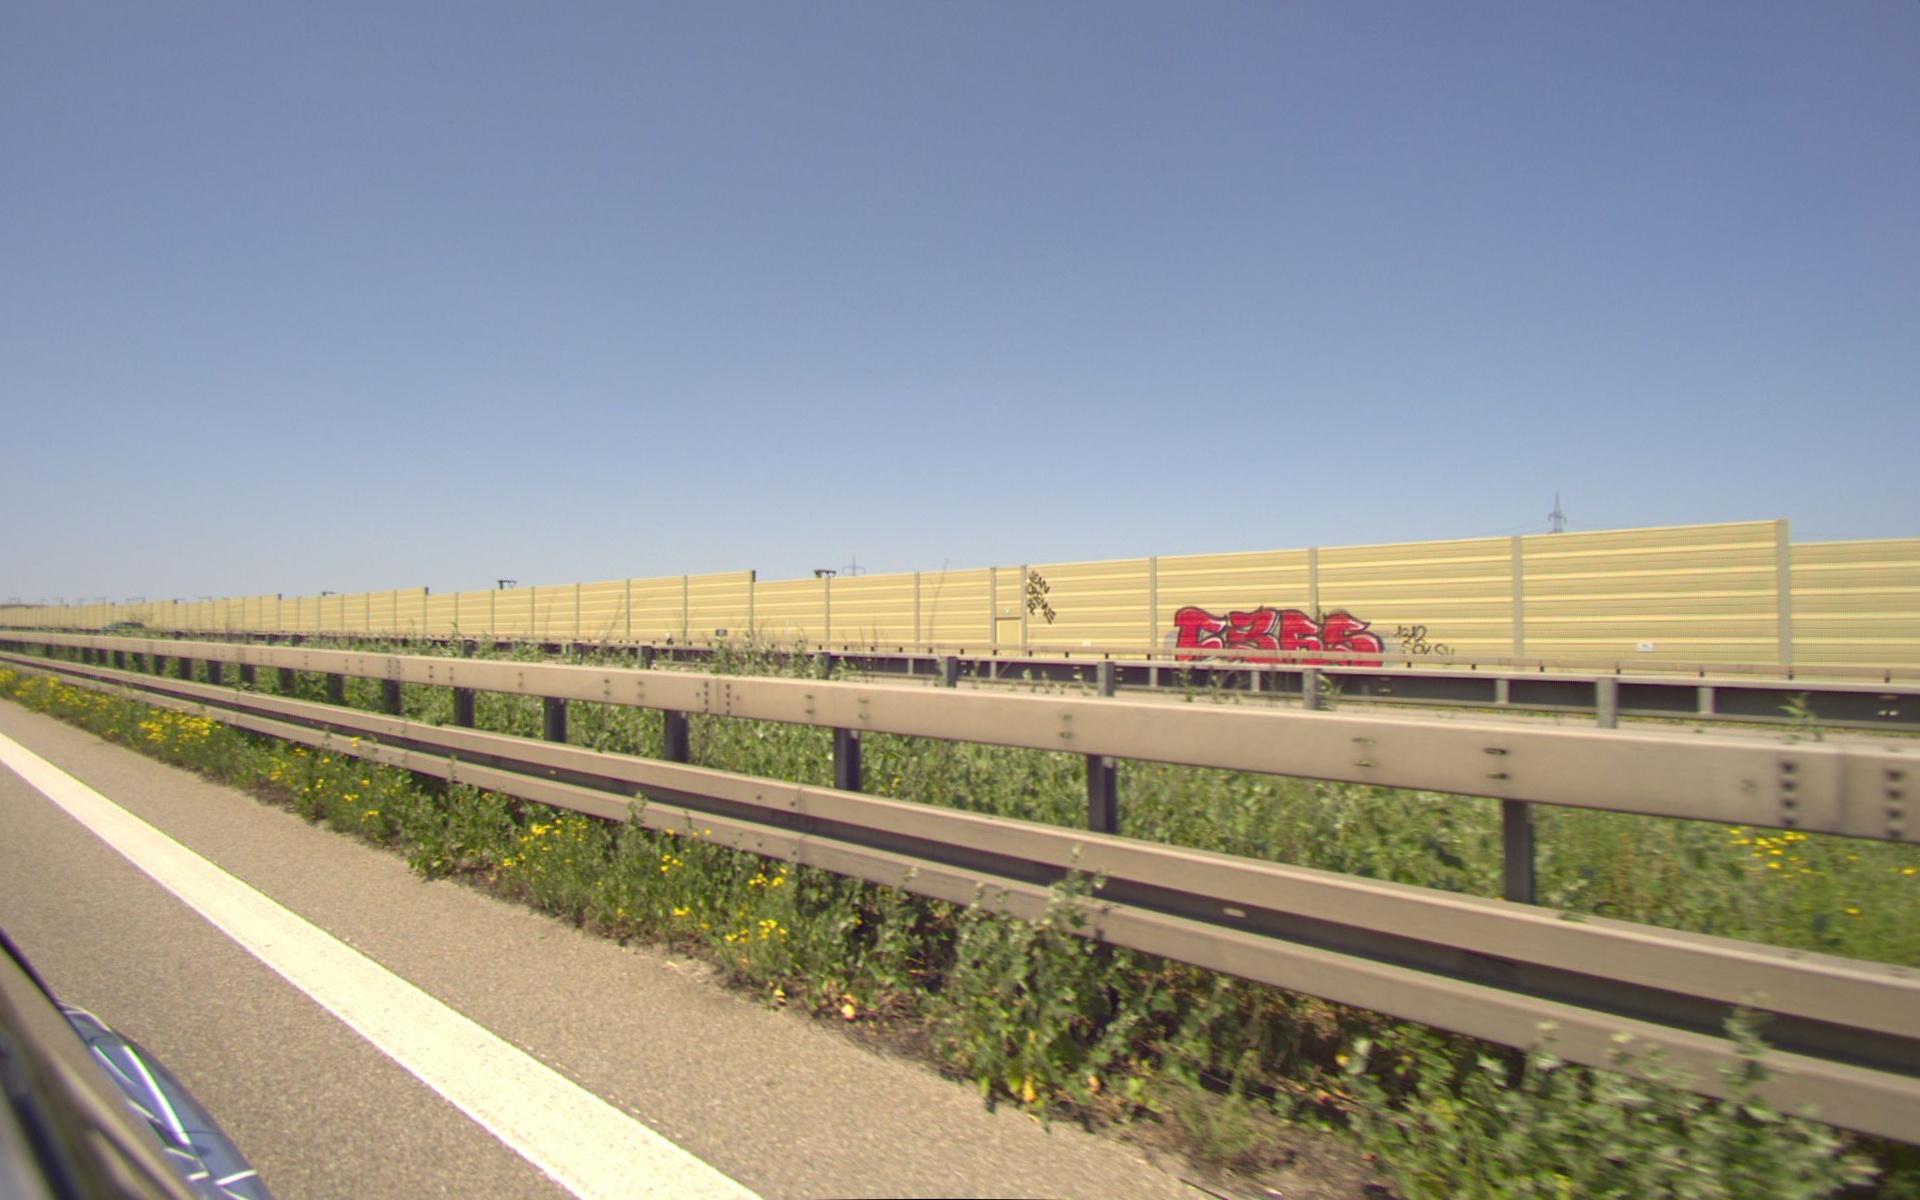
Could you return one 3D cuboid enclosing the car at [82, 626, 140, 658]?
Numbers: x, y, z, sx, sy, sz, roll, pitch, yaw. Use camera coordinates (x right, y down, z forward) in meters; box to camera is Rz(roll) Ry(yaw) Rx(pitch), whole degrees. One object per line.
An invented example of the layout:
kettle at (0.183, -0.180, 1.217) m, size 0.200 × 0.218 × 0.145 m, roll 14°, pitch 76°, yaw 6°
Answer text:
car at (-49.116, 2.412, 58.538) m, size 3.998 × 1.696 × 1.973 m, roll -1°, pitch 0°, yaw 41°
